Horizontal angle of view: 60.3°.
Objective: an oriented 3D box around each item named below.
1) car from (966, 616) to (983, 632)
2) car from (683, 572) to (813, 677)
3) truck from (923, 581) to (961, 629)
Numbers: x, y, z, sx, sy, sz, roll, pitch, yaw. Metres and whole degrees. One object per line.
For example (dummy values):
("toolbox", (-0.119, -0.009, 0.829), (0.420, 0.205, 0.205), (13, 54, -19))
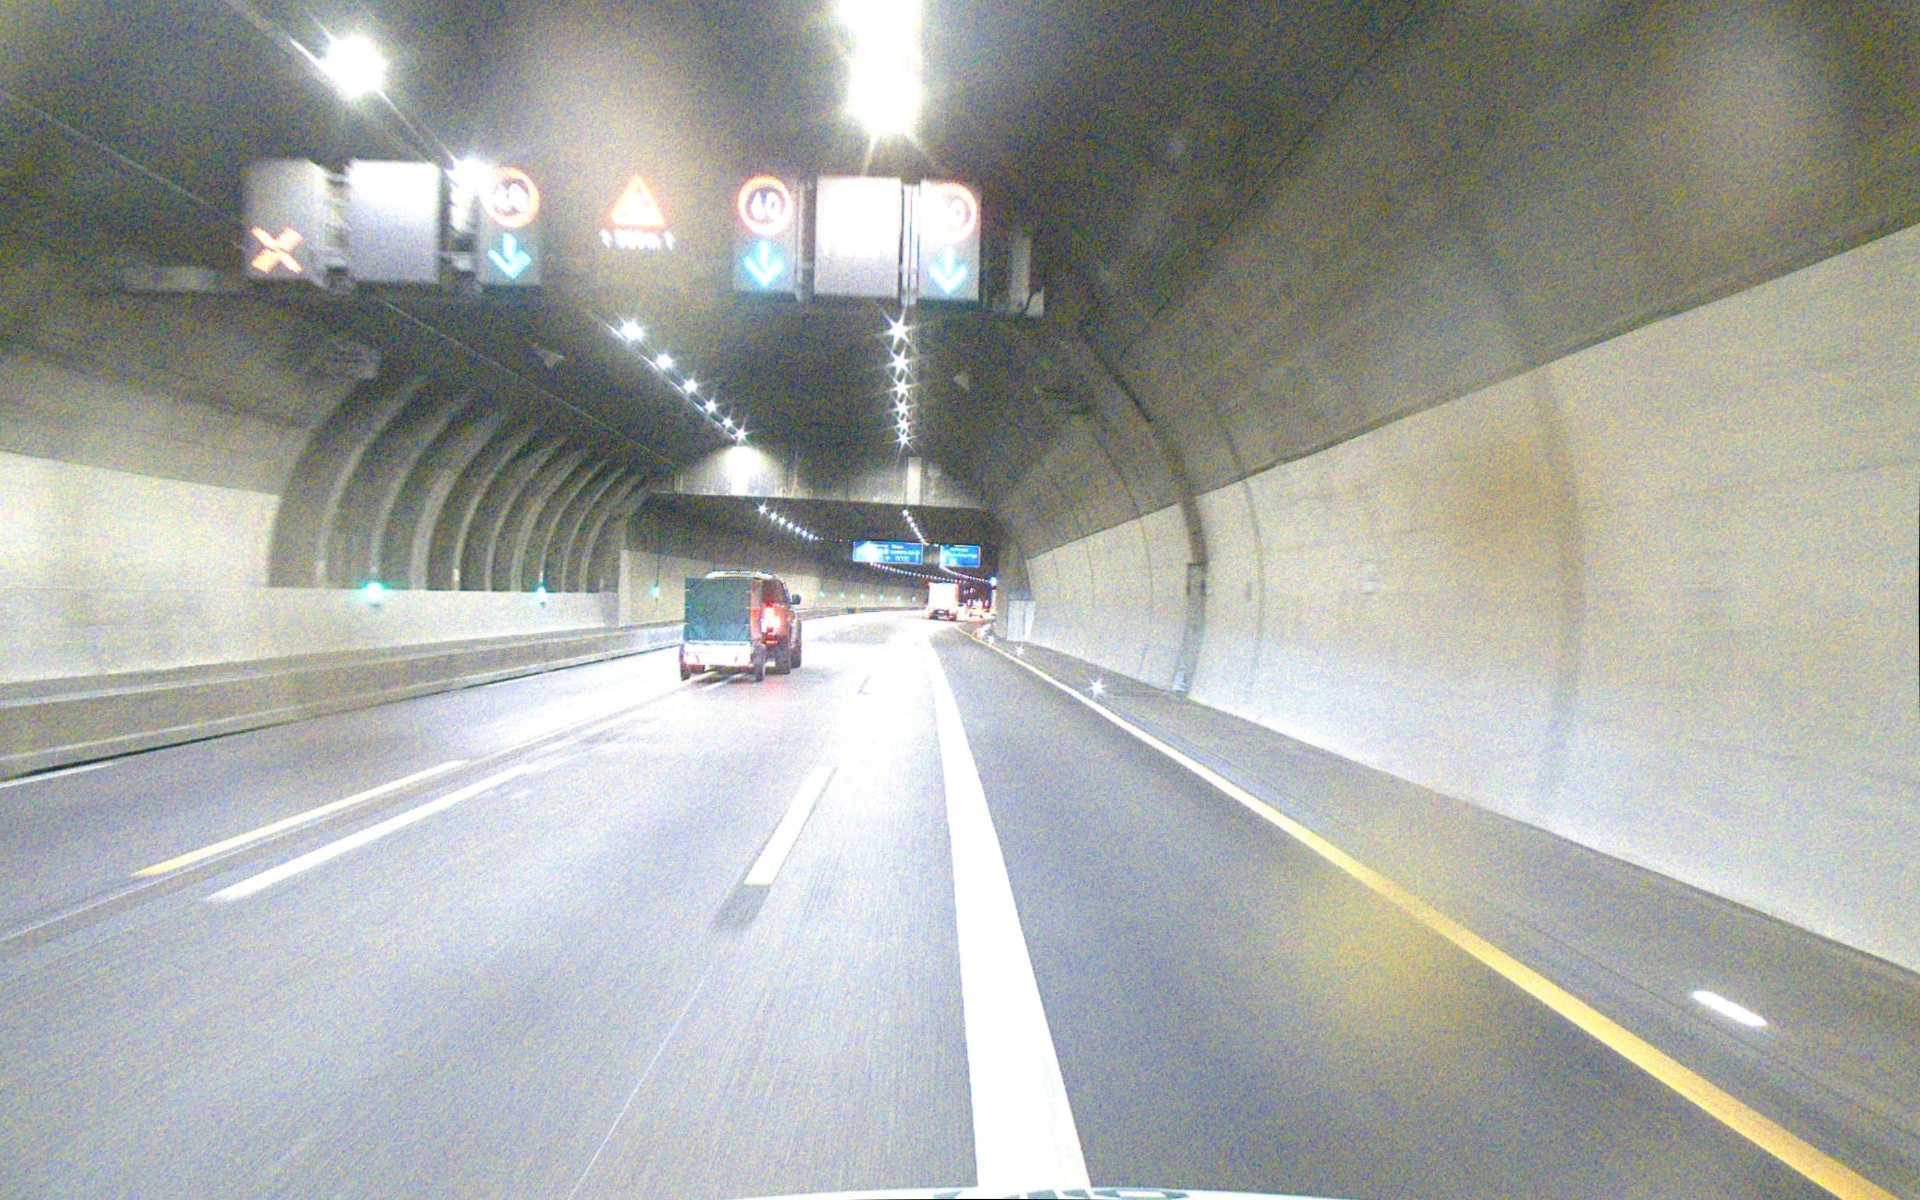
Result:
("car", (2.017, 3.219, 222.579), (1.952, 1.928, 5.535), (1, 0, 4))
("car", (-4.230, 0.449, 33.804), (1.953, 1.928, 5.452), (1, 0, -1))
("truck", (-1.827, 0.416, 162.390), (3.404, 4.391, 10.948), (2, 0, -2))
